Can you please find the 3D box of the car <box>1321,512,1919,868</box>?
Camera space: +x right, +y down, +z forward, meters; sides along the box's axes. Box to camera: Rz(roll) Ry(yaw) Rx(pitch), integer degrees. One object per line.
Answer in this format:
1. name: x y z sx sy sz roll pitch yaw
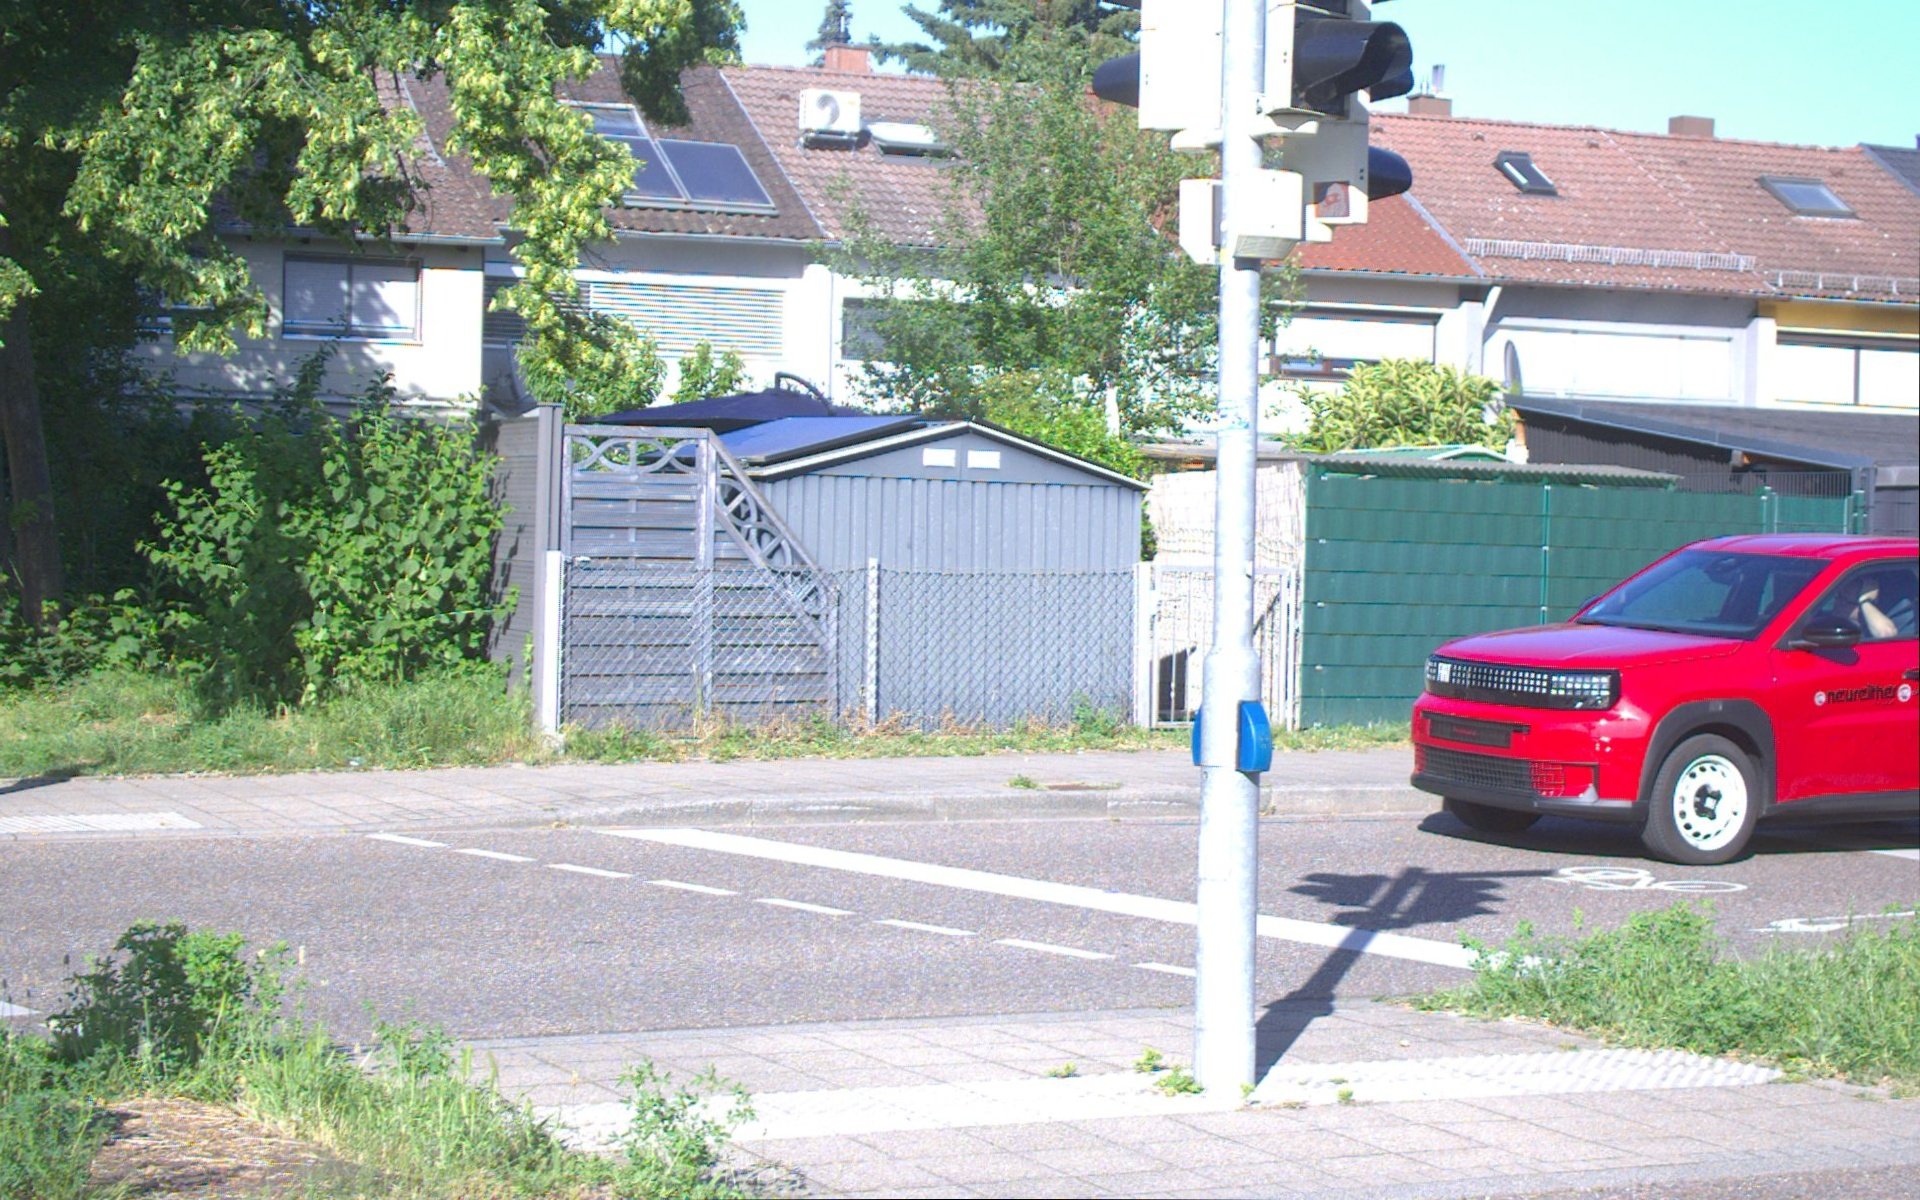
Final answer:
1. car: 4.136 0.424 17.397 4.166 1.583 1.946 1 2 -28
